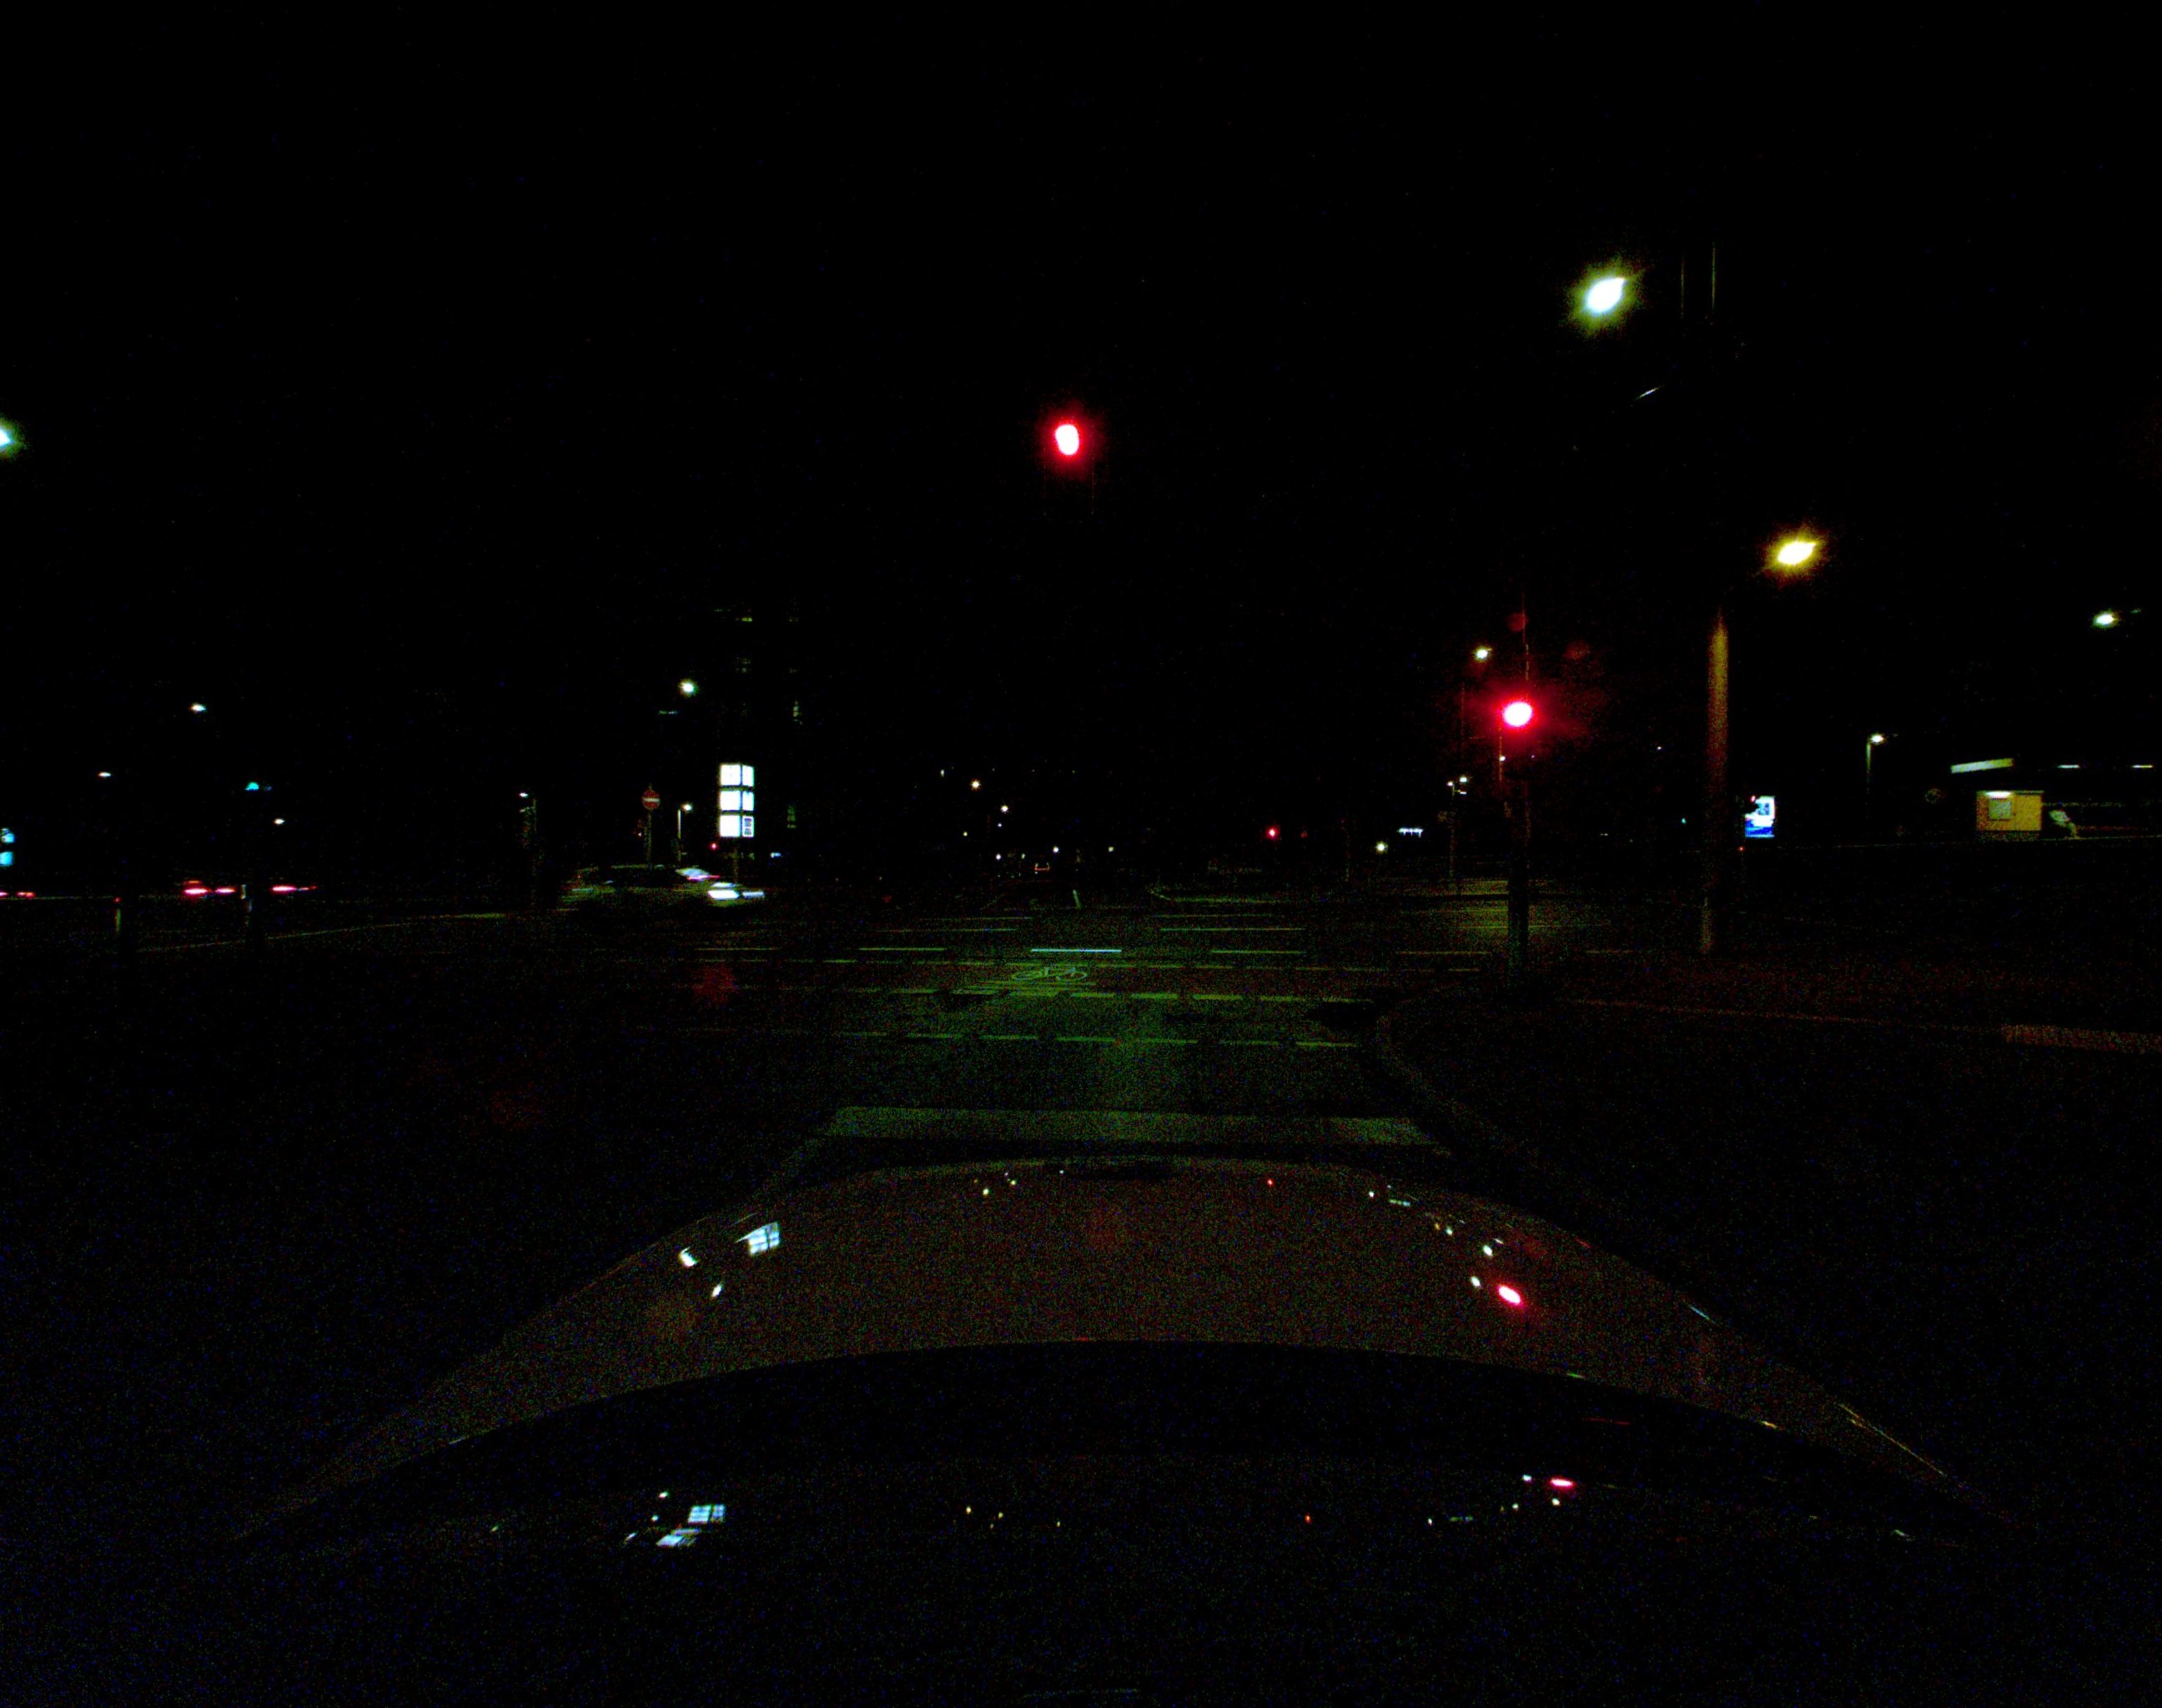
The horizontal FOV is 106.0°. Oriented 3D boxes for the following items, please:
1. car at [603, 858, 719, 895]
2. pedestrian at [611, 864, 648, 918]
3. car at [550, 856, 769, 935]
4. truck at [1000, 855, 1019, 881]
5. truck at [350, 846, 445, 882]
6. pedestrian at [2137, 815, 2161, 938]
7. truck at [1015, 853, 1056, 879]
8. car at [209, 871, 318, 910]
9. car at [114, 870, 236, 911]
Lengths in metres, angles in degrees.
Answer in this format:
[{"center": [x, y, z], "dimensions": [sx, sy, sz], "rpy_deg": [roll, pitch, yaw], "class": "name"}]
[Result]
[{"center": [-20.225, 1.080, 39.302], "dimensions": [4.595, 1.728, 2.003], "rpy_deg": [0, -1, 5], "class": "car"}, {"center": [-14.069, 1.142, 25.385], "dimensions": [0.667, 1.634, 0.862], "rpy_deg": [0, -1, -3], "class": "pedestrian"}, {"center": [-10.026, 0.968, 19.581], "dimensions": [4.261, 1.683, 1.879], "rpy_deg": [-2, 1, 5], "class": "car"}, {"center": [-10.544, 1.960, 119.588], "dimensions": [2.580, 3.707, 5.723], "rpy_deg": [0, -1, -7], "class": "truck"}, {"center": [-59.786, 0.880, 71.314], "dimensions": [5.873, 3.088, 2.915], "rpy_deg": [0, -1, 3], "class": "truck"}, {"center": [15.785, 0.299, 11.417], "dimensions": [0.752, 1.745, 0.834], "rpy_deg": [-3, -2, 1], "class": "pedestrian"}, {"center": [-8.549, 2.226, 151.651], "dimensions": [4.835, 4.547, 12.591], "rpy_deg": [0, -1, -17], "class": "truck"}, {"center": [-44.626, 1.980, 44.538], "dimensions": [3.971, 2.014, 2.001], "rpy_deg": [-1, -1, 2], "class": "car"}, {"center": [-46.266, 1.843, 41.651], "dimensions": [4.163, 1.975, 2.002], "rpy_deg": [0, -1, 4], "class": "car"}]
